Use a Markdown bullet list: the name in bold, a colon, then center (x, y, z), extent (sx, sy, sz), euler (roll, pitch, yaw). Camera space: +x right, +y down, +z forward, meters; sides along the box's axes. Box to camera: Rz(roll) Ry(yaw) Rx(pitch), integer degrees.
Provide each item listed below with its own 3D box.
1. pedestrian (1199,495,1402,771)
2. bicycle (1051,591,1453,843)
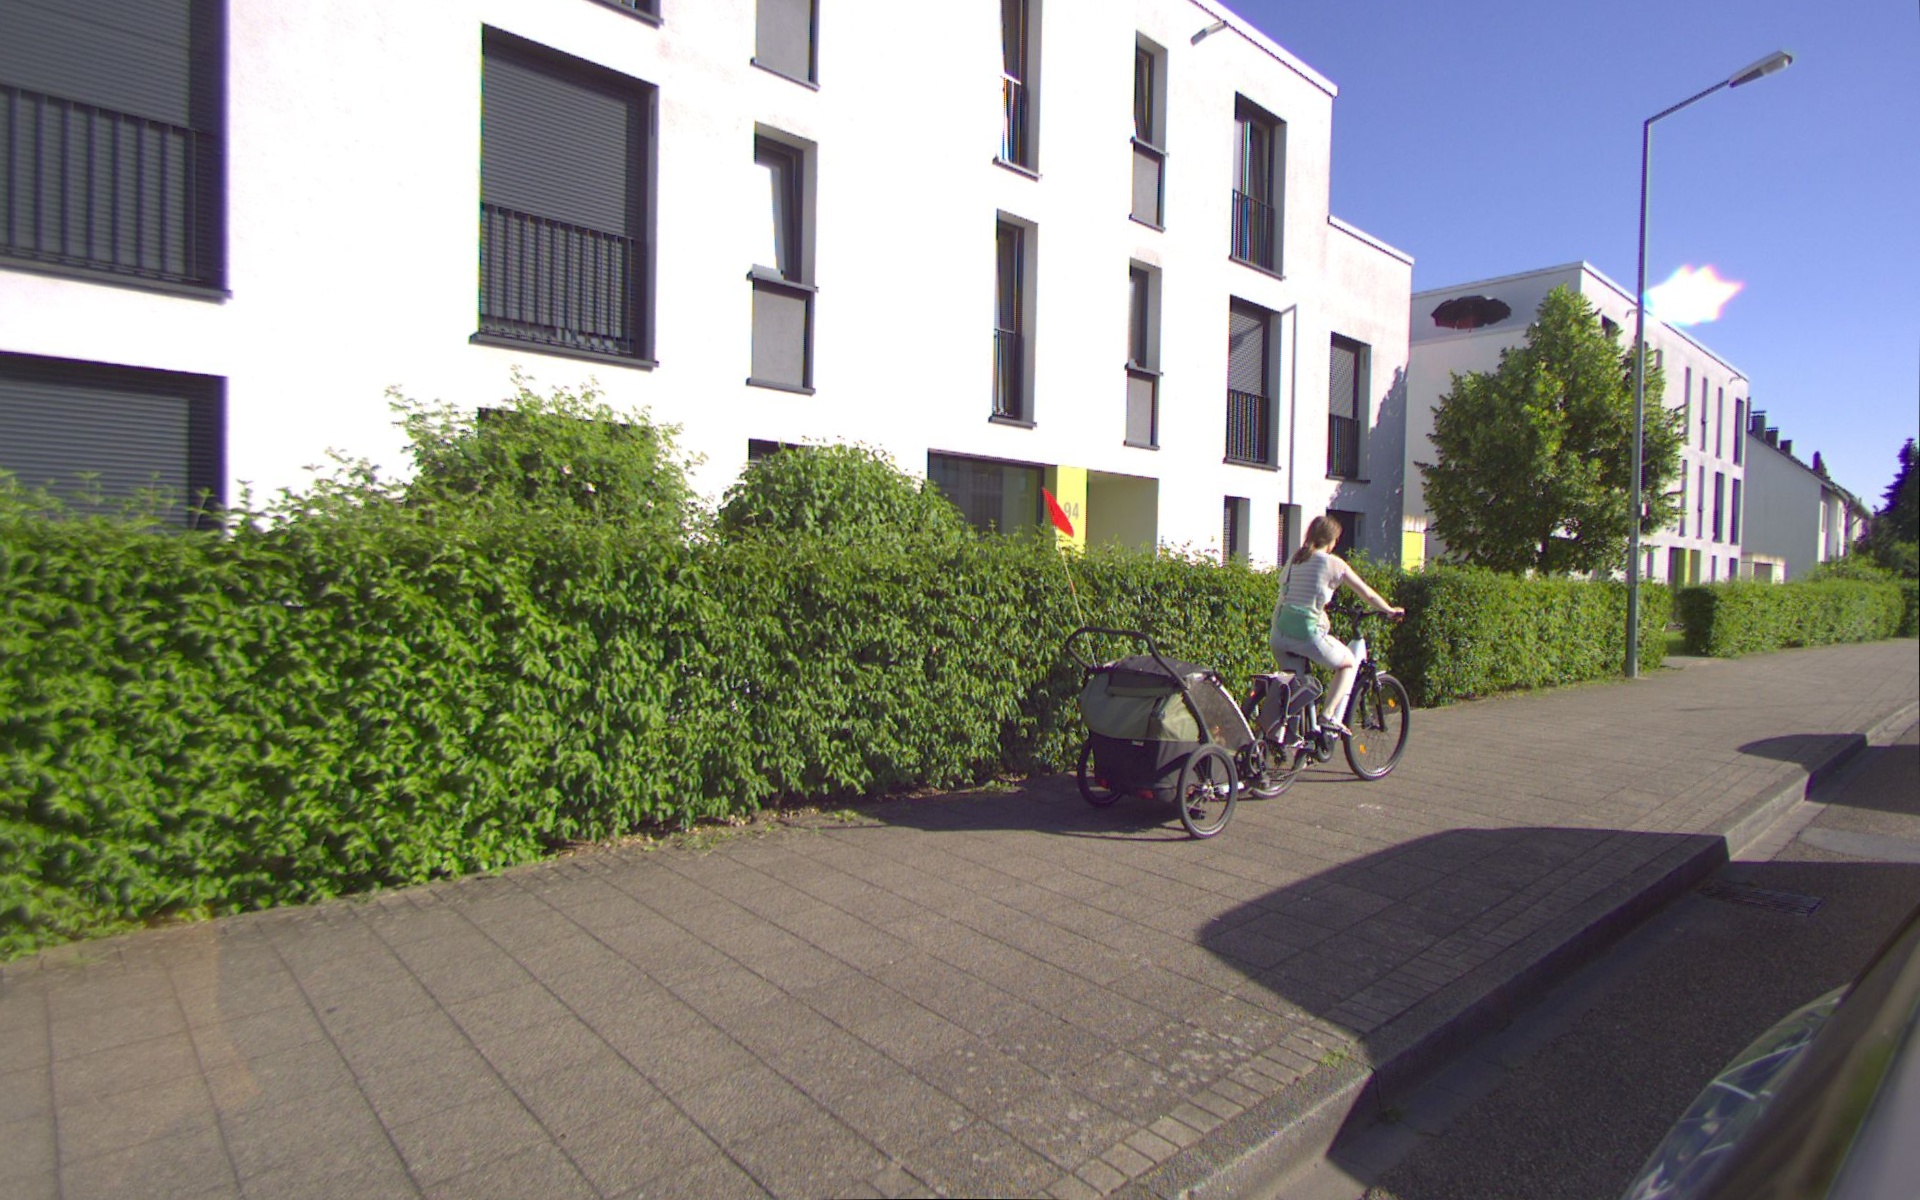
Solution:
- **pedestrian**: center (2.184, 0.170, 6.519), extent (0.840, 1.613, 0.912), euler (0, 2, -43)
- **bicycle**: center (1.960, 0.562, 6.324), extent (3.072, 1.187, 0.930), euler (-1, 3, -43)
